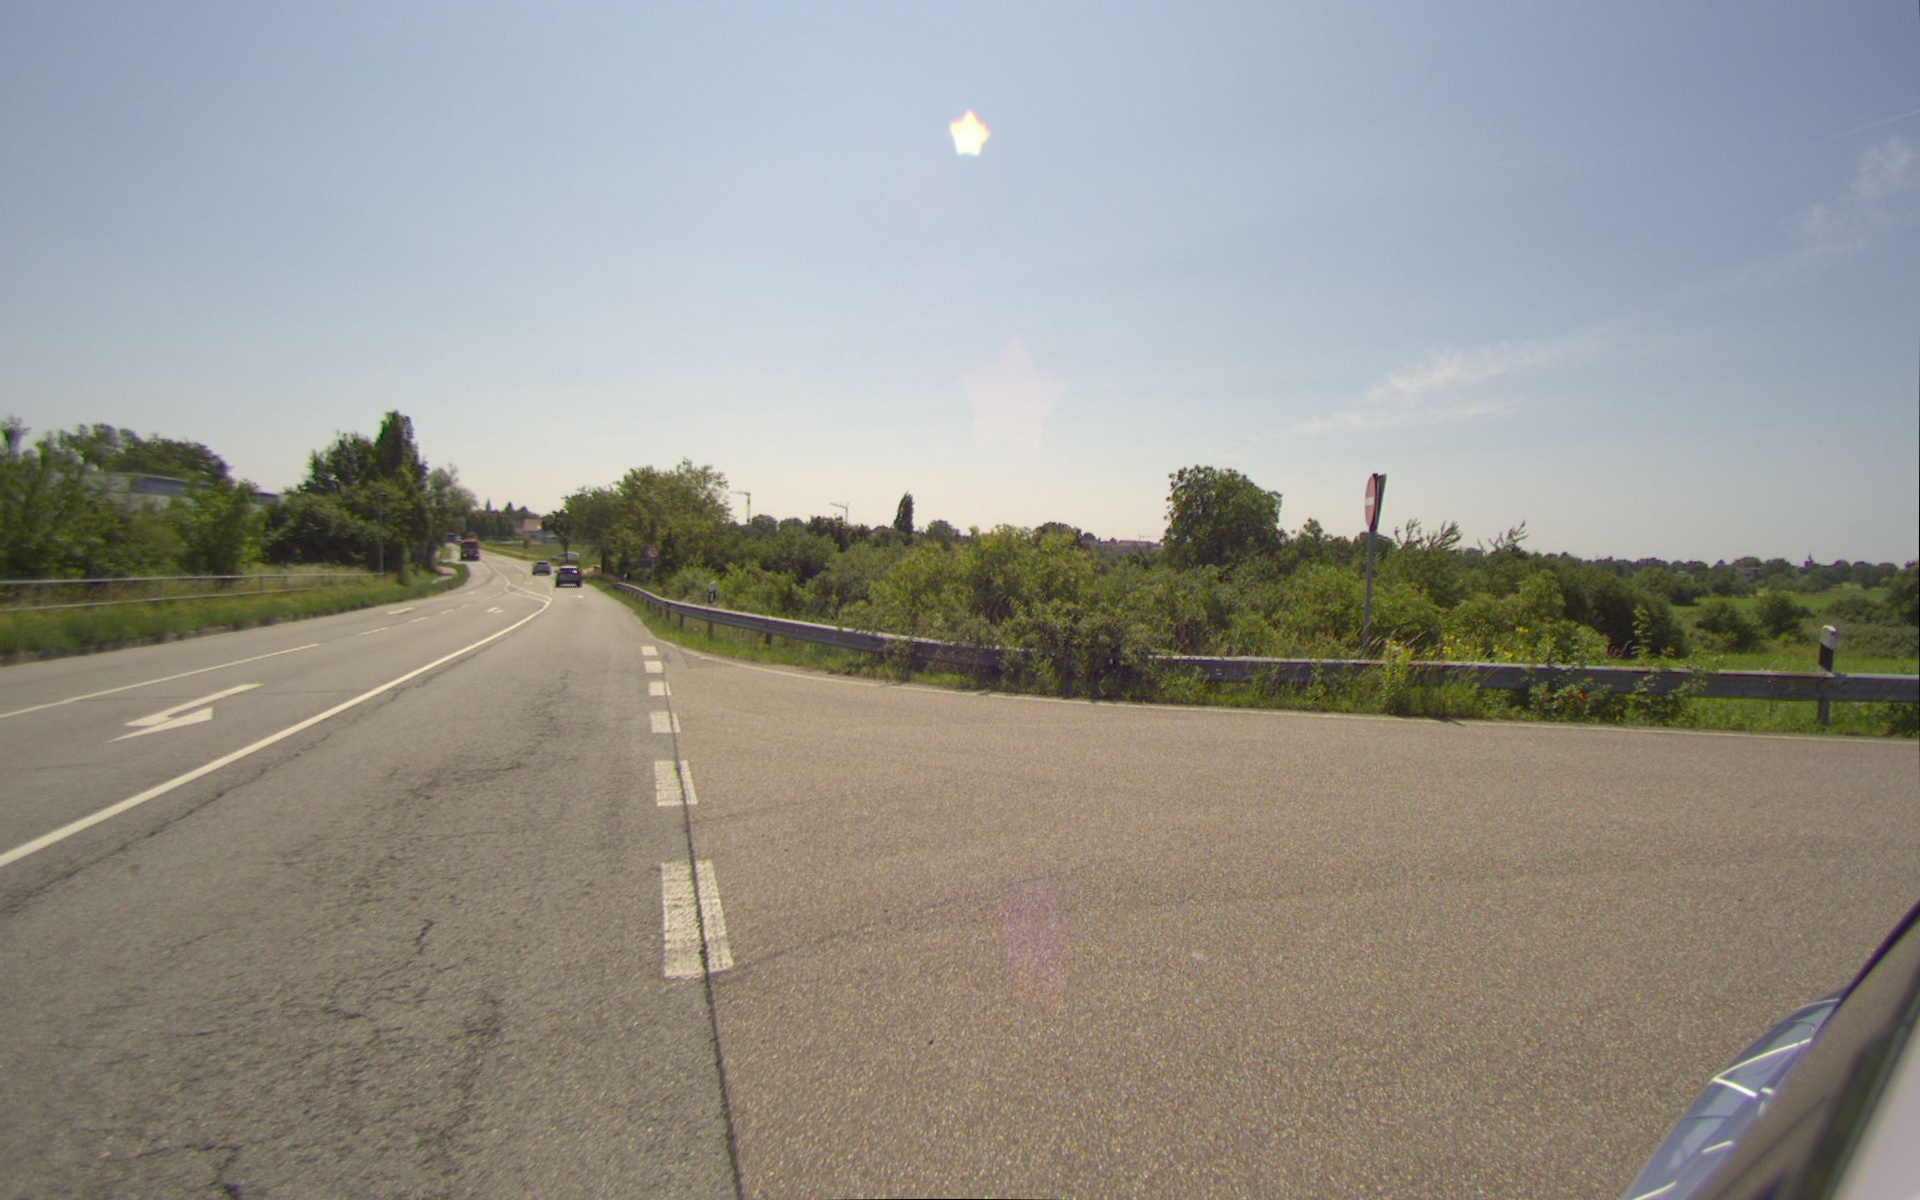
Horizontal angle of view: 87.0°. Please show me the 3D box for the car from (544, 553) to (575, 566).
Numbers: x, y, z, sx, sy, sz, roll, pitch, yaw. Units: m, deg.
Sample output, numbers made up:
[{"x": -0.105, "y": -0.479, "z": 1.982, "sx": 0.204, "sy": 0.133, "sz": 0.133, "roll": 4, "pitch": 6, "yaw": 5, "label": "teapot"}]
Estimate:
[{"x": -63.671, "y": -6.416, "z": 160.922, "sx": 4.326, "sy": 2.038, "sz": 2.003, "roll": 0, "pitch": 1, "yaw": -6, "label": "car"}]

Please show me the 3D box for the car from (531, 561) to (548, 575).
[{"x": -47.032, "y": -3.575, "z": 113.211, "sx": 1.495, "sy": 1.592, "sz": 3.677, "roll": 0, "pitch": 2, "yaw": -20, "label": "car"}]

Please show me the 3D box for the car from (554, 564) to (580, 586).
[{"x": -30.402, "y": -1.916, "z": 78.349, "sx": 1.760, "sy": 1.603, "sz": 4.501, "roll": 0, "pitch": 1, "yaw": -19, "label": "car"}]

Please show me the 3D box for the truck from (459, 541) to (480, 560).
[{"x": -76.491, "y": -7.760, "z": 157.682, "sx": 2.804, "sy": 2.821, "sz": 6.971, "roll": 0, "pitch": 3, "yaw": -27, "label": "truck"}]
